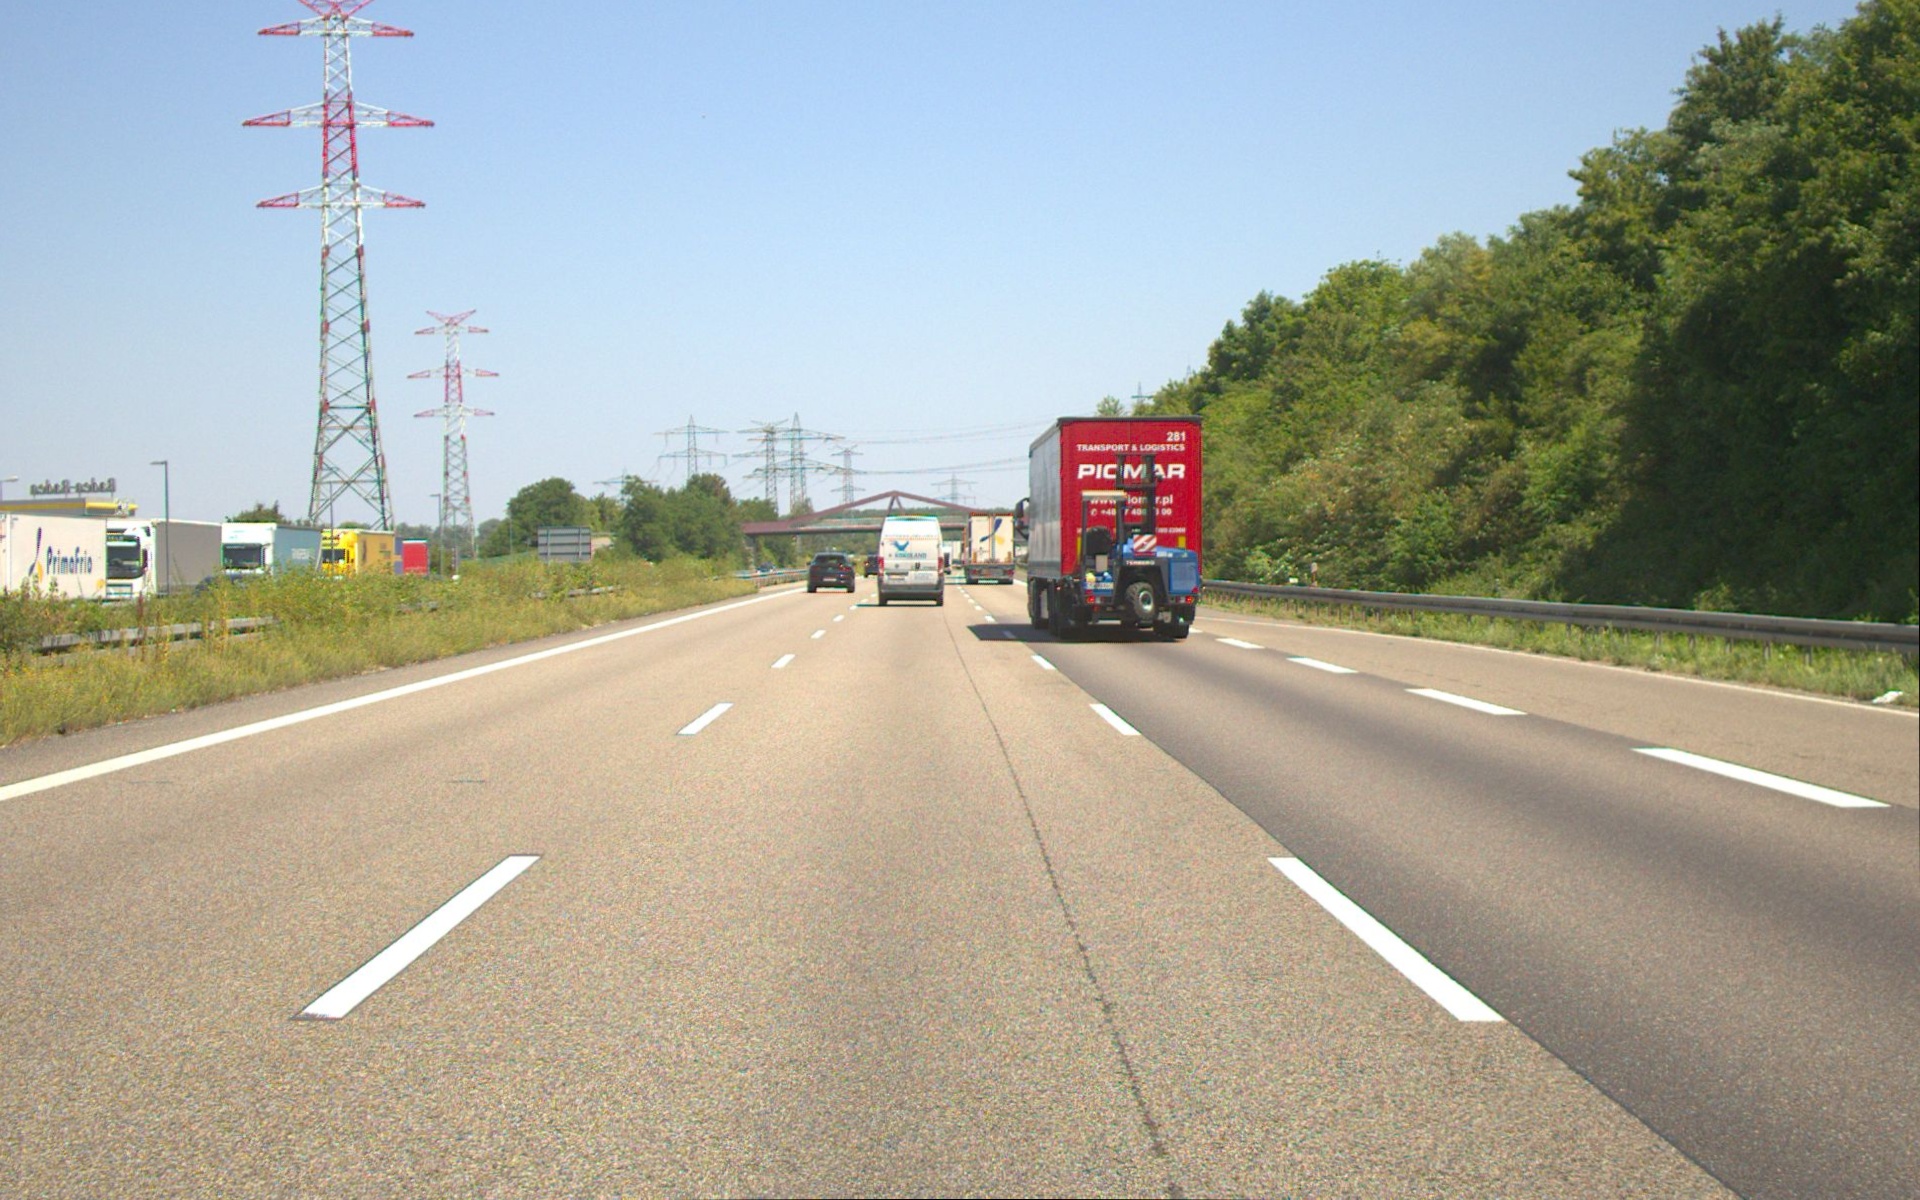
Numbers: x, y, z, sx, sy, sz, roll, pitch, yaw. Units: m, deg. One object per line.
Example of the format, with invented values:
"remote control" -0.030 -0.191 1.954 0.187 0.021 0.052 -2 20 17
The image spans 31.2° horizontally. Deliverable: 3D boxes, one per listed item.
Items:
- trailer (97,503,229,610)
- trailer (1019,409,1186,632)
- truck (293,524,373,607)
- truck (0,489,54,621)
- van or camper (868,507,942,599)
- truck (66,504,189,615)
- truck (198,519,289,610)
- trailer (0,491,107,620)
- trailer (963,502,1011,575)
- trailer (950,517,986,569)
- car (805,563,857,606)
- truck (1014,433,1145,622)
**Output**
"trailer" -32.603 -1.773 141.062 3.113 4.144 11.017 1 1 -2
"trailer" 2.614 -1.455 67.207 2.490 3.896 14.246 0 1 -1
"truck" -32.828 -1.810 180.343 2.833 4.186 7.919 1 1 -1
"truck" -31.773 -1.464 111.849 2.581 4.174 7.937 0 1 -1
"van or camper" -1.701 -1.471 107.826 2.230 2.772 5.423 1 1 0
"truck" -32.392 -1.587 134.018 3.116 4.144 7.505 1 1 -2
"truck" -33.012 -1.654 158.583 2.849 4.059 7.090 1 1 -1
"trailer" -31.889 -1.529 118.222 2.598 4.204 10.515 1 1 -1
"trailer" 1.553 -3.487 197.458 2.637 4.046 12.366 1 1 1
"trailer" 0.605 -4.362 262.673 2.637 3.884 7.068 1 1 1
"car" -5.583 -0.678 149.095 1.982 1.811 3.812 1 1 2
"truck" 2.522 -1.529 74.327 2.499 3.906 7.097 0 1 -1
